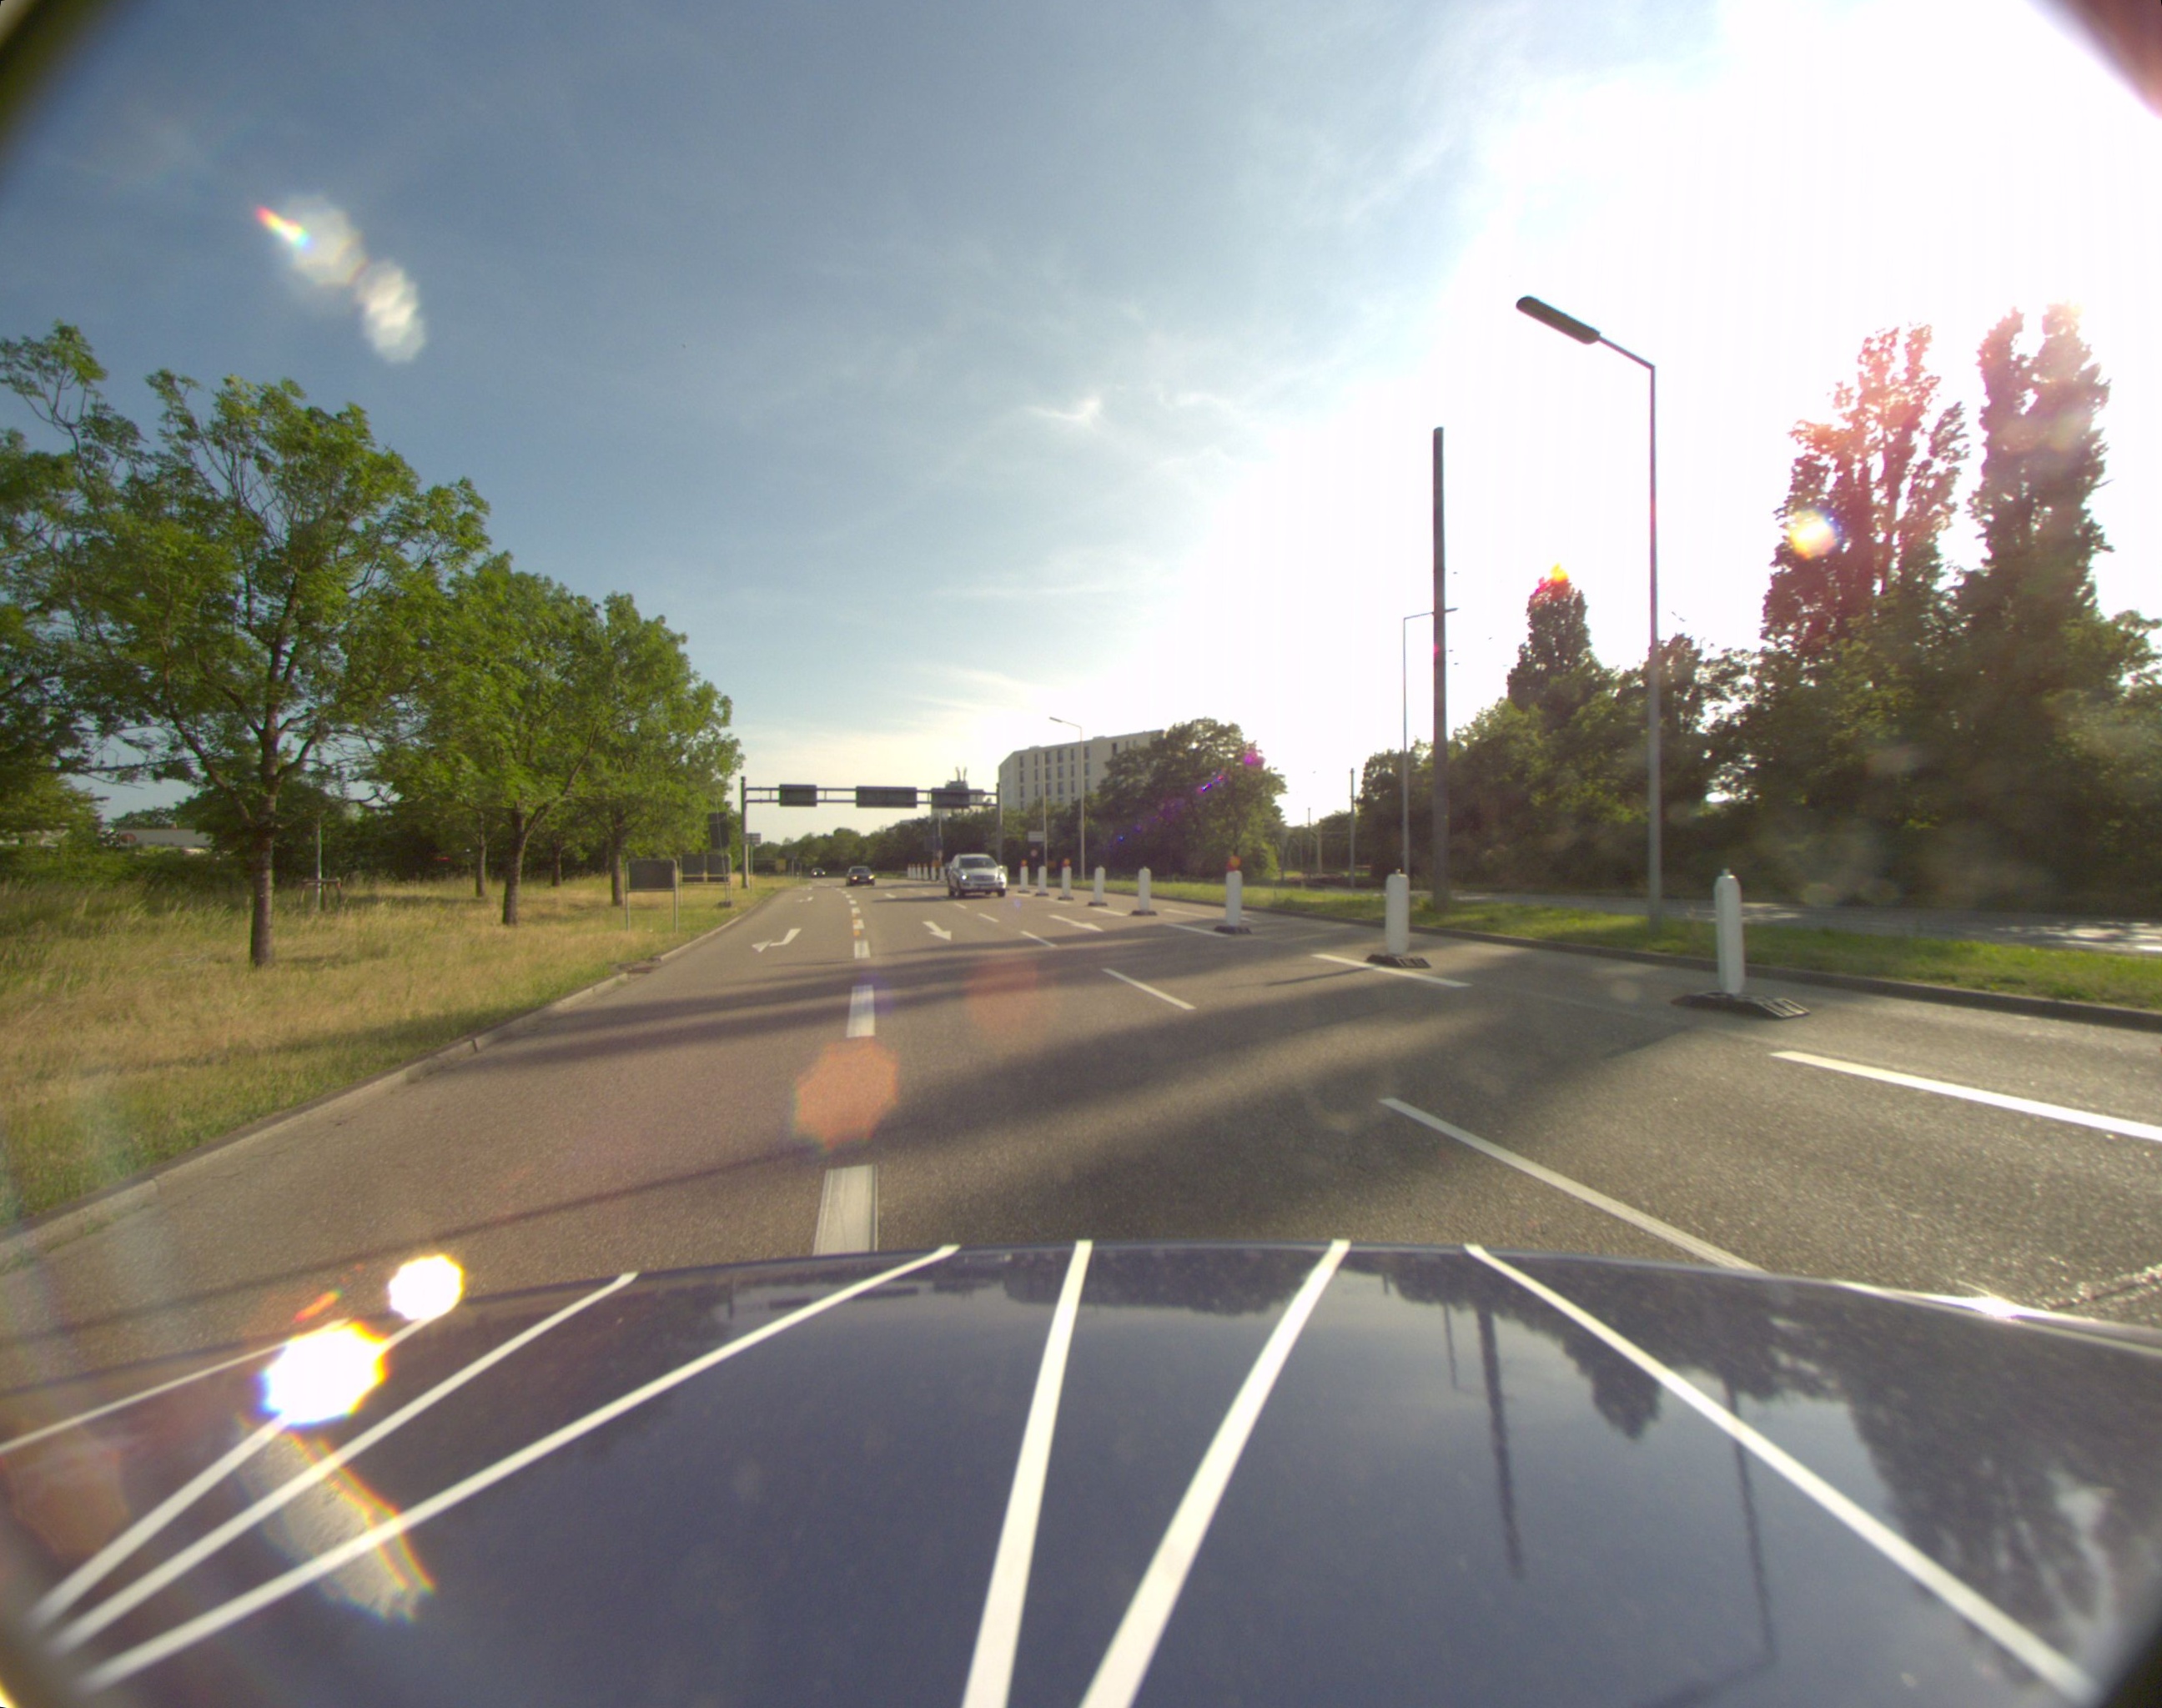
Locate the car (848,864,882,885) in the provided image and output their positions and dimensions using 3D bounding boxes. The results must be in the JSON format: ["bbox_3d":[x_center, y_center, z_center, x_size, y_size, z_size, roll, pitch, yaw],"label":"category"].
[{"bbox_3d":[-15.848,1.466,55.652,1.904,1.377,4.348,-2,0,-21],"label":"car"}]

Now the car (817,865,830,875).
[{"bbox_3d":[-41.454,2.529,122.313,1.898,1.447,3.903,0,0,-19],"label":"car"}]

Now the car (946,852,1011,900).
[{"bbox_3d":[-4.406,0.880,32.206,1.904,1.813,4.349,-2,0,-18],"label":"car"}]

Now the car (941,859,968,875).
[{"bbox_3d":[-16.452,1.634,98.373,2.003,2.002,5.347,0,0,-26],"label":"car"}]
